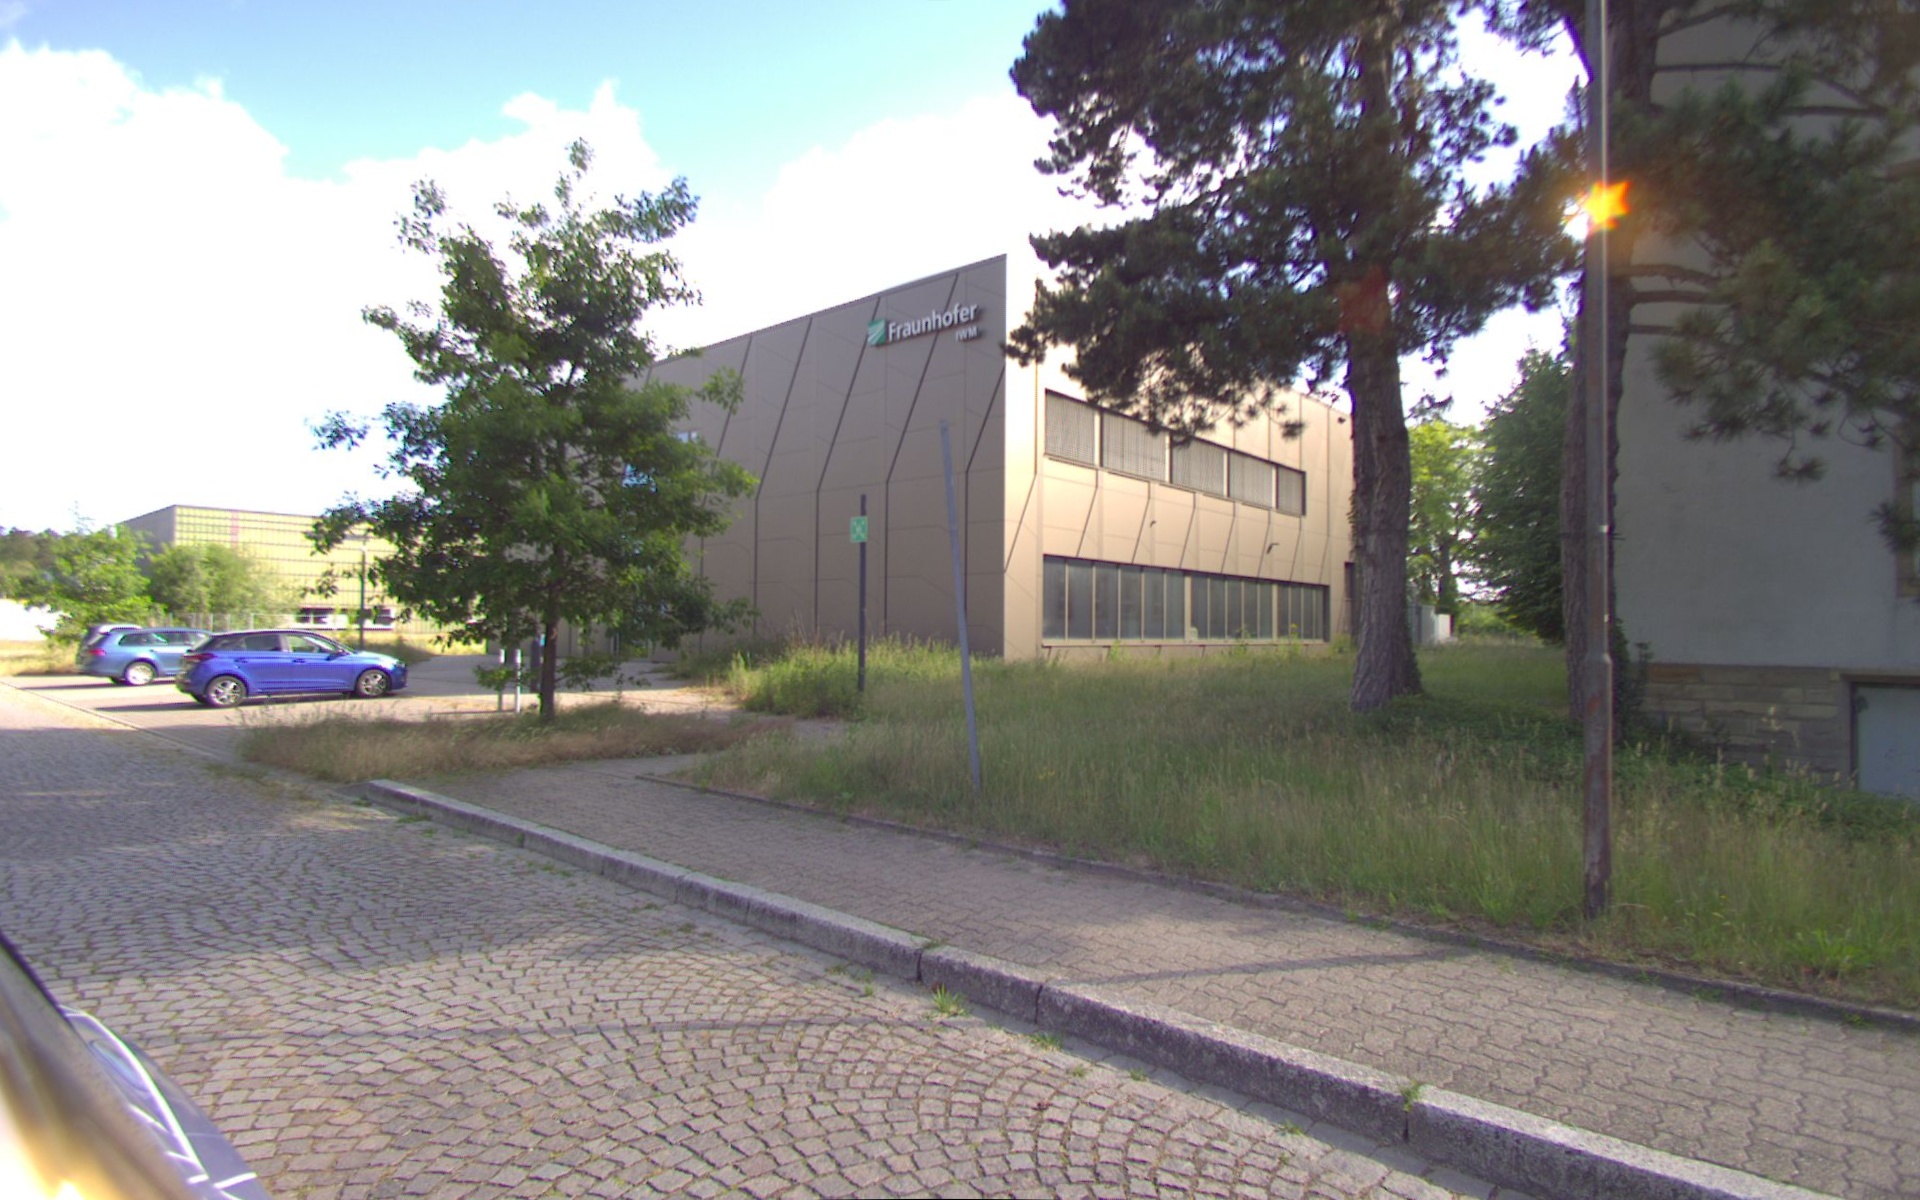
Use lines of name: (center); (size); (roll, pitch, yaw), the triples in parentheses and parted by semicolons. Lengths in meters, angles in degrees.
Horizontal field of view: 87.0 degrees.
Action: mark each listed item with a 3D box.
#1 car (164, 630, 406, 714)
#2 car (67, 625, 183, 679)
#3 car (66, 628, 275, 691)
car: (-13.778, 1.394, 20.794); (1.735, 1.479, 3.865); (-1, -1, 43)
car: (-26.359, 1.600, 31.985); (1.480, 1.580, 2.619); (-1, -1, 39)
car: (-20.951, 1.530, 27.009); (1.733, 1.485, 4.128); (-1, -1, 39)
